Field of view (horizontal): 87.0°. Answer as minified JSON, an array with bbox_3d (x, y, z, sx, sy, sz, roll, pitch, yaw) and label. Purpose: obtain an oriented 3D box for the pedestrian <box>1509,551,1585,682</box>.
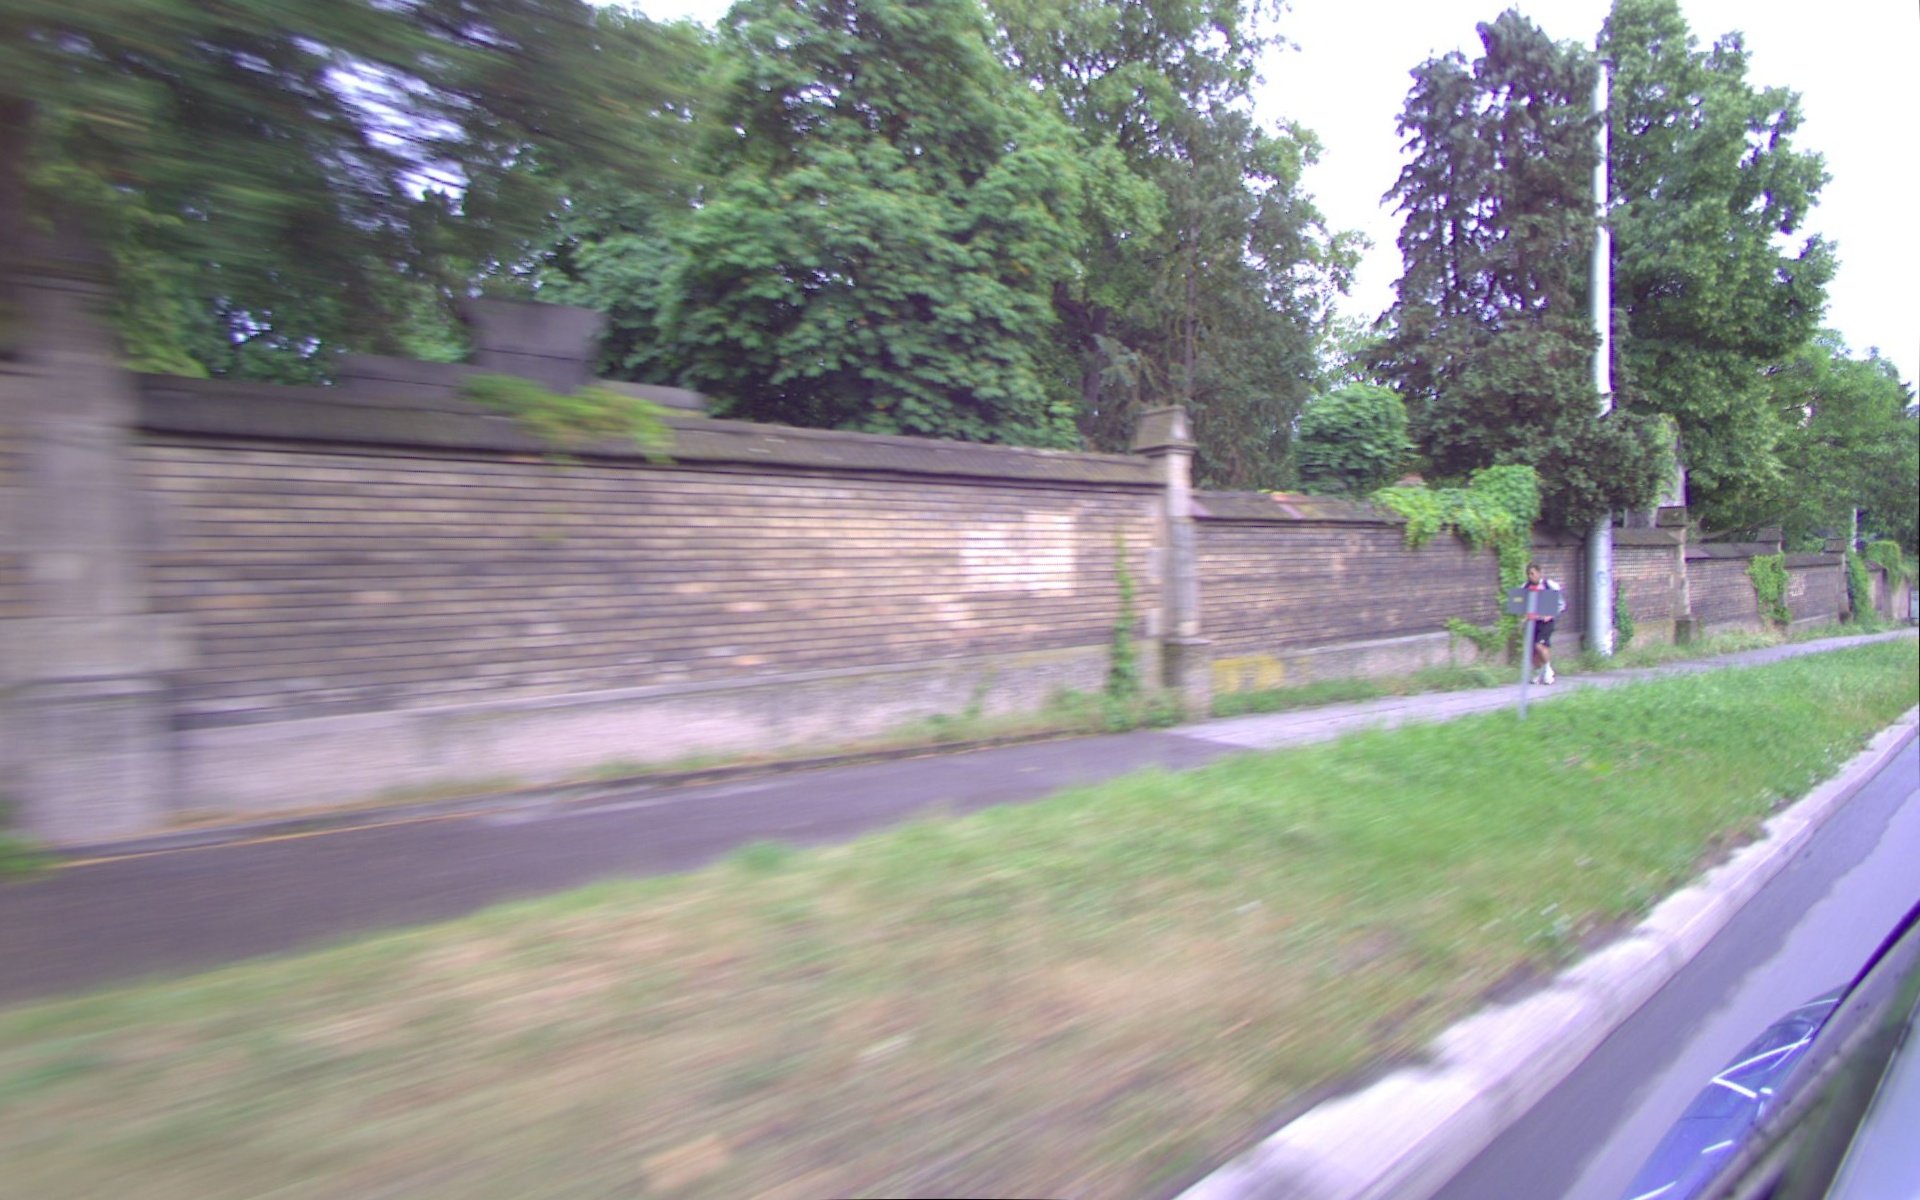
[{"bbox_3d":[8.430,0.222,14.536,0.885,1.802,0.709,0,0,-42],"label":"pedestrian"}]
